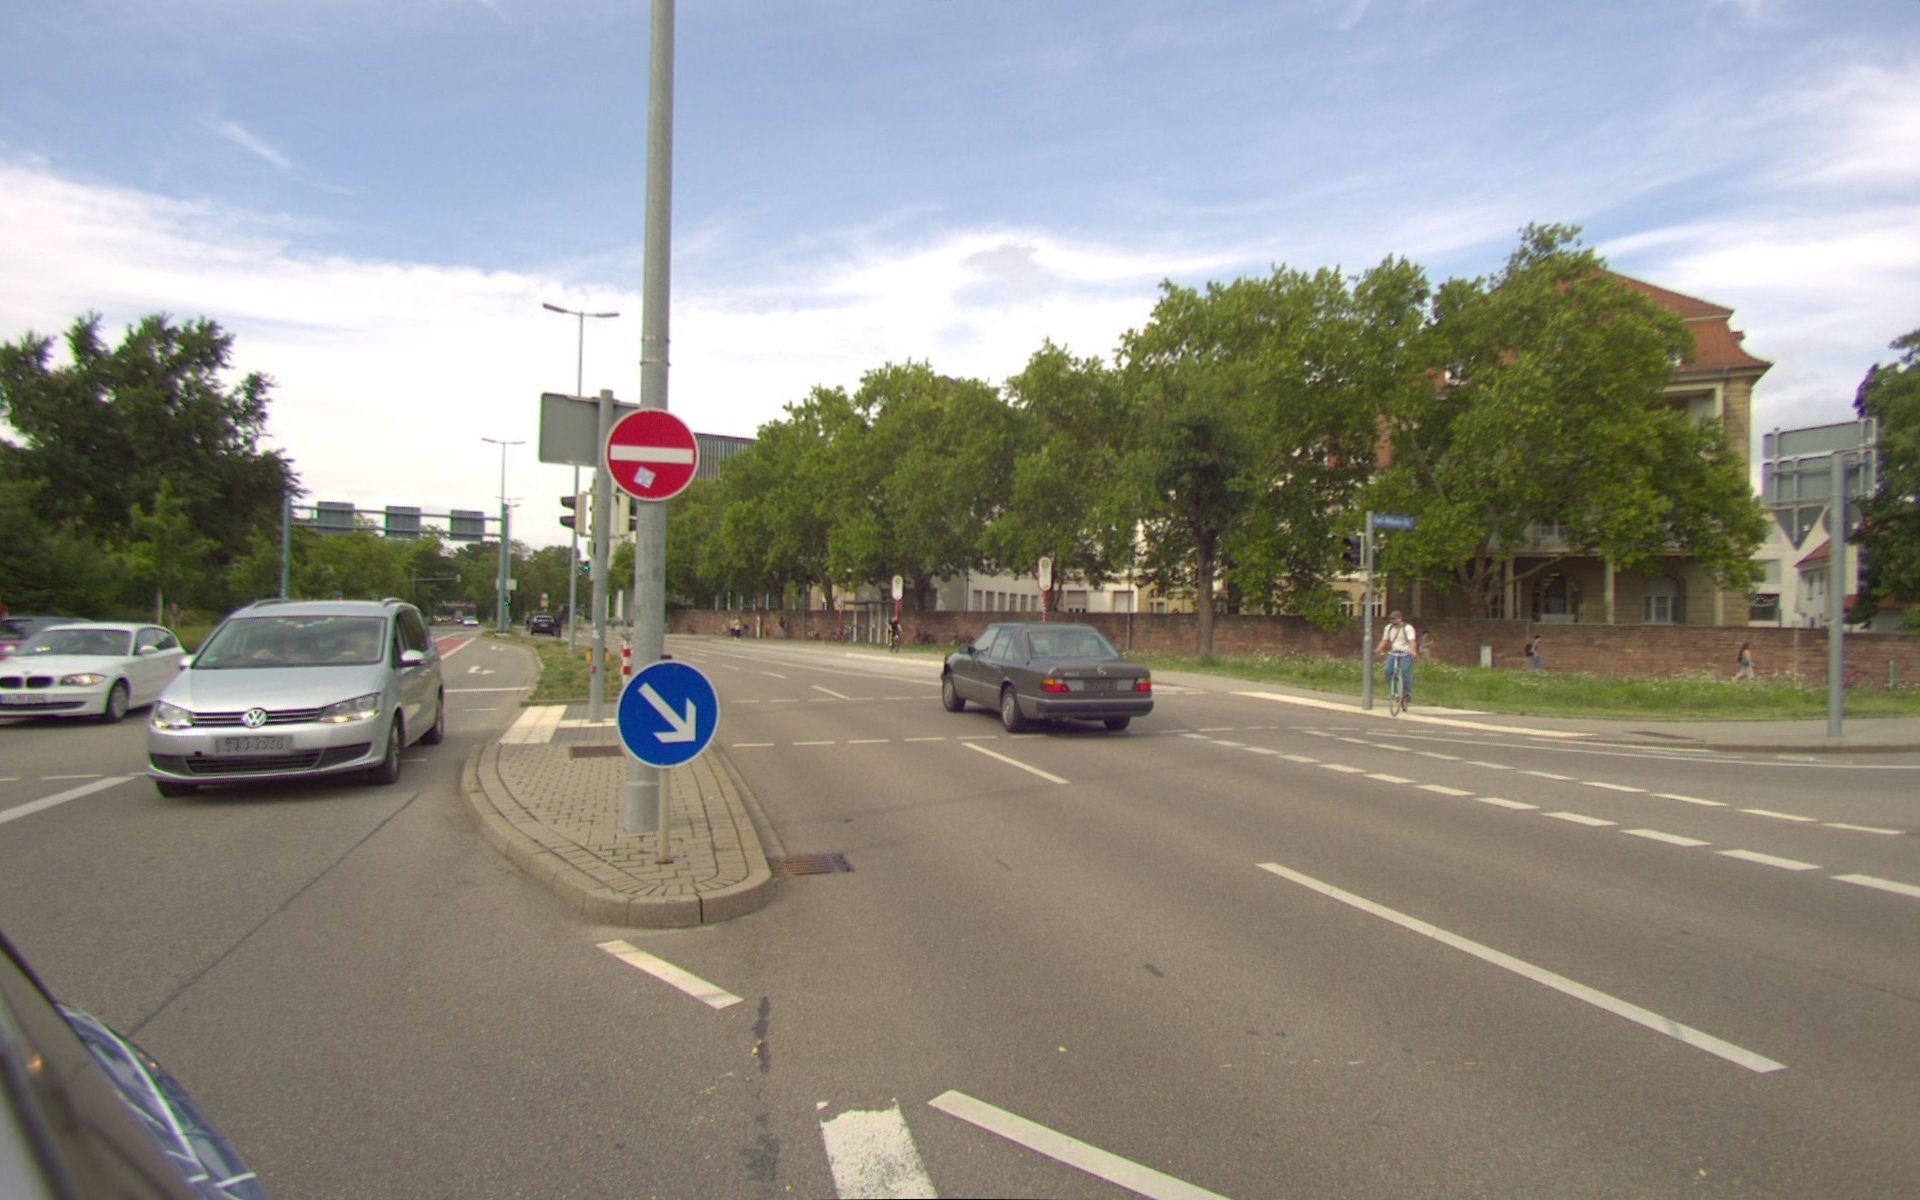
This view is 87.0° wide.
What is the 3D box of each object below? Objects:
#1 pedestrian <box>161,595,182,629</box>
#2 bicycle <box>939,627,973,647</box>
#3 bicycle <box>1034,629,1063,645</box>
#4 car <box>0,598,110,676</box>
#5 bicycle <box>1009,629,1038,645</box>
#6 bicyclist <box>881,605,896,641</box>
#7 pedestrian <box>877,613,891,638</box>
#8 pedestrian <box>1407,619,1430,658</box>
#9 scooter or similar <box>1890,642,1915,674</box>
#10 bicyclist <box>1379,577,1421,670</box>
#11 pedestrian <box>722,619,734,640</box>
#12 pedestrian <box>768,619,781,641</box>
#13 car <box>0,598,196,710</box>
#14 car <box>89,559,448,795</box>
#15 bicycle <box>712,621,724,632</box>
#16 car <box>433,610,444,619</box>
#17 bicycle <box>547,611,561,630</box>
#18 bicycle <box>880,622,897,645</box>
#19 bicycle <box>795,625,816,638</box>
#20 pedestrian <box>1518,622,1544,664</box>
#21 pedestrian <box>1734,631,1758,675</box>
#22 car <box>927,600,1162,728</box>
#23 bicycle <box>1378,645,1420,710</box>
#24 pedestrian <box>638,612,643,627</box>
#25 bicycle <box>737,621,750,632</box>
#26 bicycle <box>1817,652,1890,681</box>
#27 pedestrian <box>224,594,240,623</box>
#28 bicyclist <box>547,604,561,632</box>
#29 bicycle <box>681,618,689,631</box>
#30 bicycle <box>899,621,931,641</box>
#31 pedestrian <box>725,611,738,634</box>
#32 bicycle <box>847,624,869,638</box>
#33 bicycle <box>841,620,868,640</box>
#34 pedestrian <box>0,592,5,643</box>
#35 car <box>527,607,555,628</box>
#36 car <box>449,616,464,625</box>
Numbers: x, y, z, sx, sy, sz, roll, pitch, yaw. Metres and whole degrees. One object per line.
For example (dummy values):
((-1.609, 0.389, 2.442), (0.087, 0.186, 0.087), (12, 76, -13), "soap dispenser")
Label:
((-40.709, 0.629, 52.241), (0.702, 1.724, 0.697), (0, 0, -24), "pedestrian")
((-0.247, 2.246, 61.637), (2.099, 1.198, 0.748), (-1, -4, 45), "bicycle")
((4.963, 2.094, 57.056), (0.353, 0.870, 1.811), (5, -4, -44), "bicycle")
((-18.659, 0.698, 20.313), (1.642, 1.426, 3.469), (-1, 0, -26), "car")
((3.639, 2.106, 58.342), (1.823, 0.870, 0.354), (0, -4, 43), "bicycle")
((-3.225, 1.025, 45.669), (0.570, 1.567, 0.800), (1, 1, -10), "bicyclist")
((-5.028, 1.668, 66.743), (0.755, 1.634, 0.560), (-1, 0, 44), "pedestrian")
((19.975, 1.681, 44.099), (0.774, 1.667, 0.575), (-1, 0, 12), "pedestrian")
((35.398, 2.165, 37.987), (1.495, 1.148, 0.521), (-1, 0, -41), "scooter or similar")
((7.625, 0.393, 17.568), (0.575, 1.567, 0.793), (1, 1, 19), "bicyclist")
((-18.389, 2.300, 80.319), (0.742, 1.634, 0.668), (0, 0, -30), "pedestrian")
((-14.136, 2.276, 77.216), (0.662, 1.634, 0.748), (-1, 0, 25), "pedestrian")
((-13.293, 0.718, 15.274), (1.730, 1.469, 4.237), (-1, 0, -22), "car")
((-6.368, 0.569, 9.950), (1.794, 1.747, 4.543), (-1, 0, -19), "car")
((-20.762, 2.252, 86.854), (0.426, 0.894, 1.580), (-2, 0, -35), "bicycle")
((-110.094, 3.051, 213.579), (1.965, 2.029, 4.013), (-1, 0, -26), "car")
((-25.910, 1.320, 64.561), (0.745, 1.198, 2.105), (3, -3, -22), "bicycle")
((-3.242, 1.511, 45.695), (0.498, 0.943, 1.976), (1, 1, -11), "bicycle")
((-11.284, 2.291, 73.929), (0.651, 0.894, 1.577), (-2, 0, -43), "bicycle")
((23.505, 1.766, 41.671), (0.772, 1.667, 0.576), (-1, 0, 6), "pedestrian")
((30.455, 2.033, 39.231), (0.627, 1.667, 0.527), (-1, 0, 27), "pedestrian")
((0.983, 0.762, 14.289), (1.671, 1.491, 4.430), (-1, 0, -19), "car")
((7.568, 1.303, 17.496), (0.502, 0.943, 1.959), (1, 1, 19), "bicycle")
((-31.583, 1.888, 100.113), (0.395, 1.468, 0.475), (0, 0, -30), "pedestrian")
((-17.540, 2.128, 82.044), (0.426, 0.894, 1.580), (-2, 0, -35), "bicycle")
((33.764, 2.502, 38.281), (1.912, 1.012, 0.774), (-1, 0, 21), "bicycle")
((-44.517, 0.516, 61.887), (0.702, 1.724, 0.697), (0, 0, -24), "pedestrian")
((-25.898, 1.166, 64.564), (0.765, 1.724, 1.089), (3, -3, -21), "bicyclist")
((-25.839, 2.310, 95.125), (0.504, 1.218, 1.400), (0, 0, -24), "bicycle")
((-2.870, 1.981, 64.437), (2.099, 1.198, 0.748), (-1, -4, 45), "bicycle")
((-16.447, 1.635, 72.932), (0.742, 1.634, 0.668), (0, 0, -30), "pedestrian")
((-6.929, 2.092, 68.877), (0.651, 0.894, 1.577), (-2, 0, -43), "bicycle")
((-7.004, 2.010, 67.168), (0.755, 1.198, 2.080), (1, -3, 26), "bicycle")
((-32.506, 0.593, 33.792), (0.702, 1.724, 0.697), (0, 0, -24), "pedestrian")
((-32.172, 1.326, 77.630), (1.759, 1.500, 4.144), (4, -2, -24), "car")
((-90.373, 3.655, 181.809), (1.965, 1.586, 4.013), (-1, 0, -21), "car")
